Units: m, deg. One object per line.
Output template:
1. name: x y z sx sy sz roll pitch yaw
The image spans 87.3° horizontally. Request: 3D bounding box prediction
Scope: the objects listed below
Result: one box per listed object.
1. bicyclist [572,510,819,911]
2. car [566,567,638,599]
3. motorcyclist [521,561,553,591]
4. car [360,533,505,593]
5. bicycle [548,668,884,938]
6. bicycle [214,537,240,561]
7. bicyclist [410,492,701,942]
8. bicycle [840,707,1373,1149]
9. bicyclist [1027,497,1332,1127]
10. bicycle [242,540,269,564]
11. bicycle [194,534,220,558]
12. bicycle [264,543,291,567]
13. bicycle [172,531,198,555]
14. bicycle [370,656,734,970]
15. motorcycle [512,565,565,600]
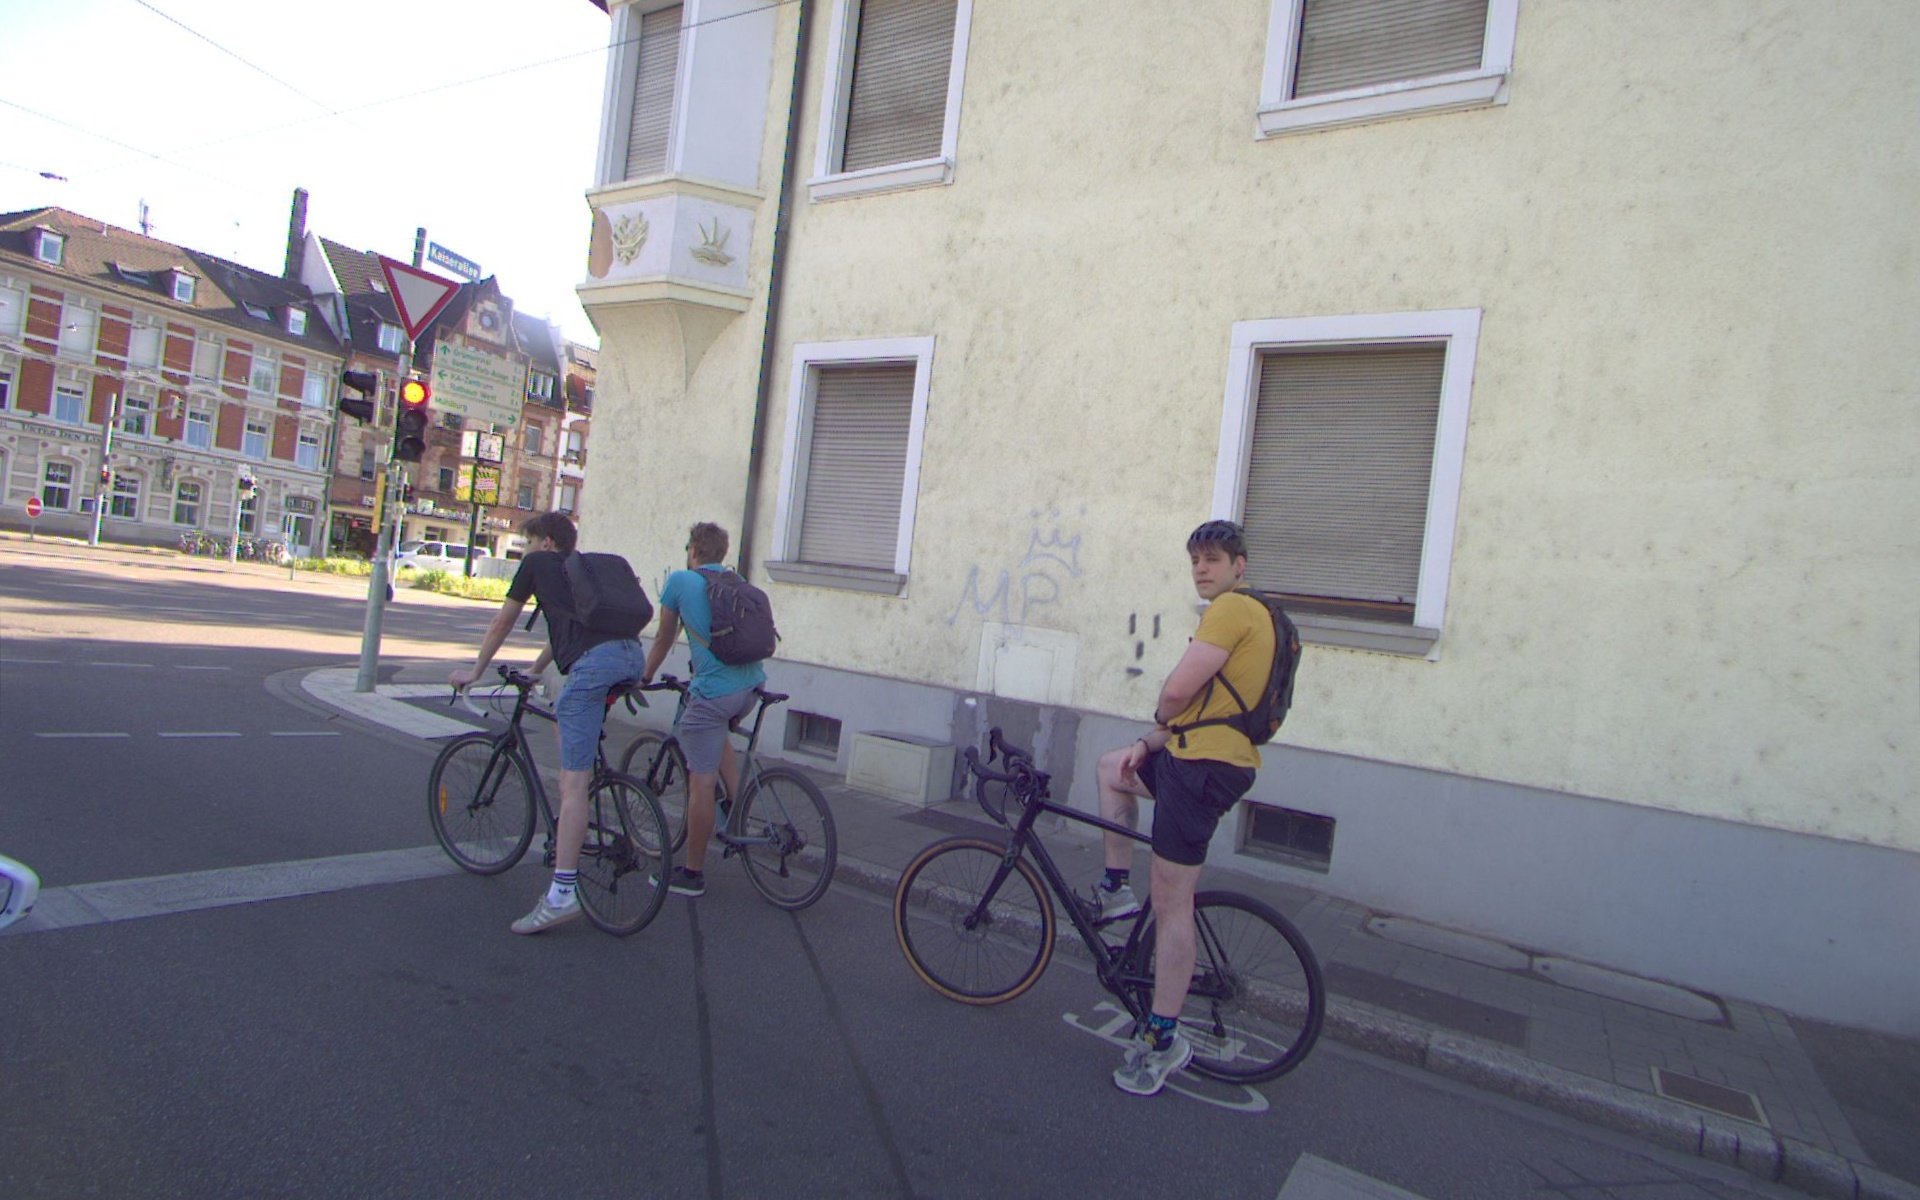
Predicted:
1. bicyclist: -1.378 0.522 5.228 0.960 1.868 0.504 6 -1 32
2. car: -23.141 -1.076 65.118 1.842 1.454 3.985 6 -2 35
3. motorcyclist: -20.388 -1.155 48.511 0.777 1.315 1.015 6 -2 36
4. car: -23.132 -1.579 44.340 1.968 1.876 5.206 7 -1 33
5. bicycle: -1.302 0.971 5.209 1.753 0.995 0.504 6 -1 32
6. bicycle: -34.246 -2.406 47.014 0.762 0.995 2.186 8 -2 -39
7. bicyclist: -1.823 0.470 4.536 0.920 1.787 0.590 6 -1 32
8. bicycle: 0.550 1.108 3.827 1.709 1.119 0.783 7 -1 18
9. bicyclist: 0.838 0.701 3.751 0.763 1.990 0.783 7 0 18
10. bicycle: -33.593 -2.295 47.956 0.762 1.019 2.196 8 -2 -39
11. bicycle: -34.742 -2.497 46.391 0.762 0.979 2.186 8 -2 -39
12. bicycle: -33.012 -2.192 48.624 0.789 1.027 2.186 8 -2 -39
13. bicycle: -35.344 -2.598 45.867 0.762 0.974 2.186 8 -2 -39
14. bicycle: -1.887 0.867 4.542 1.753 1.003 0.482 6 -1 32
15. motorcycle: -20.342 -0.832 48.620 0.784 1.349 2.137 6 -2 36
